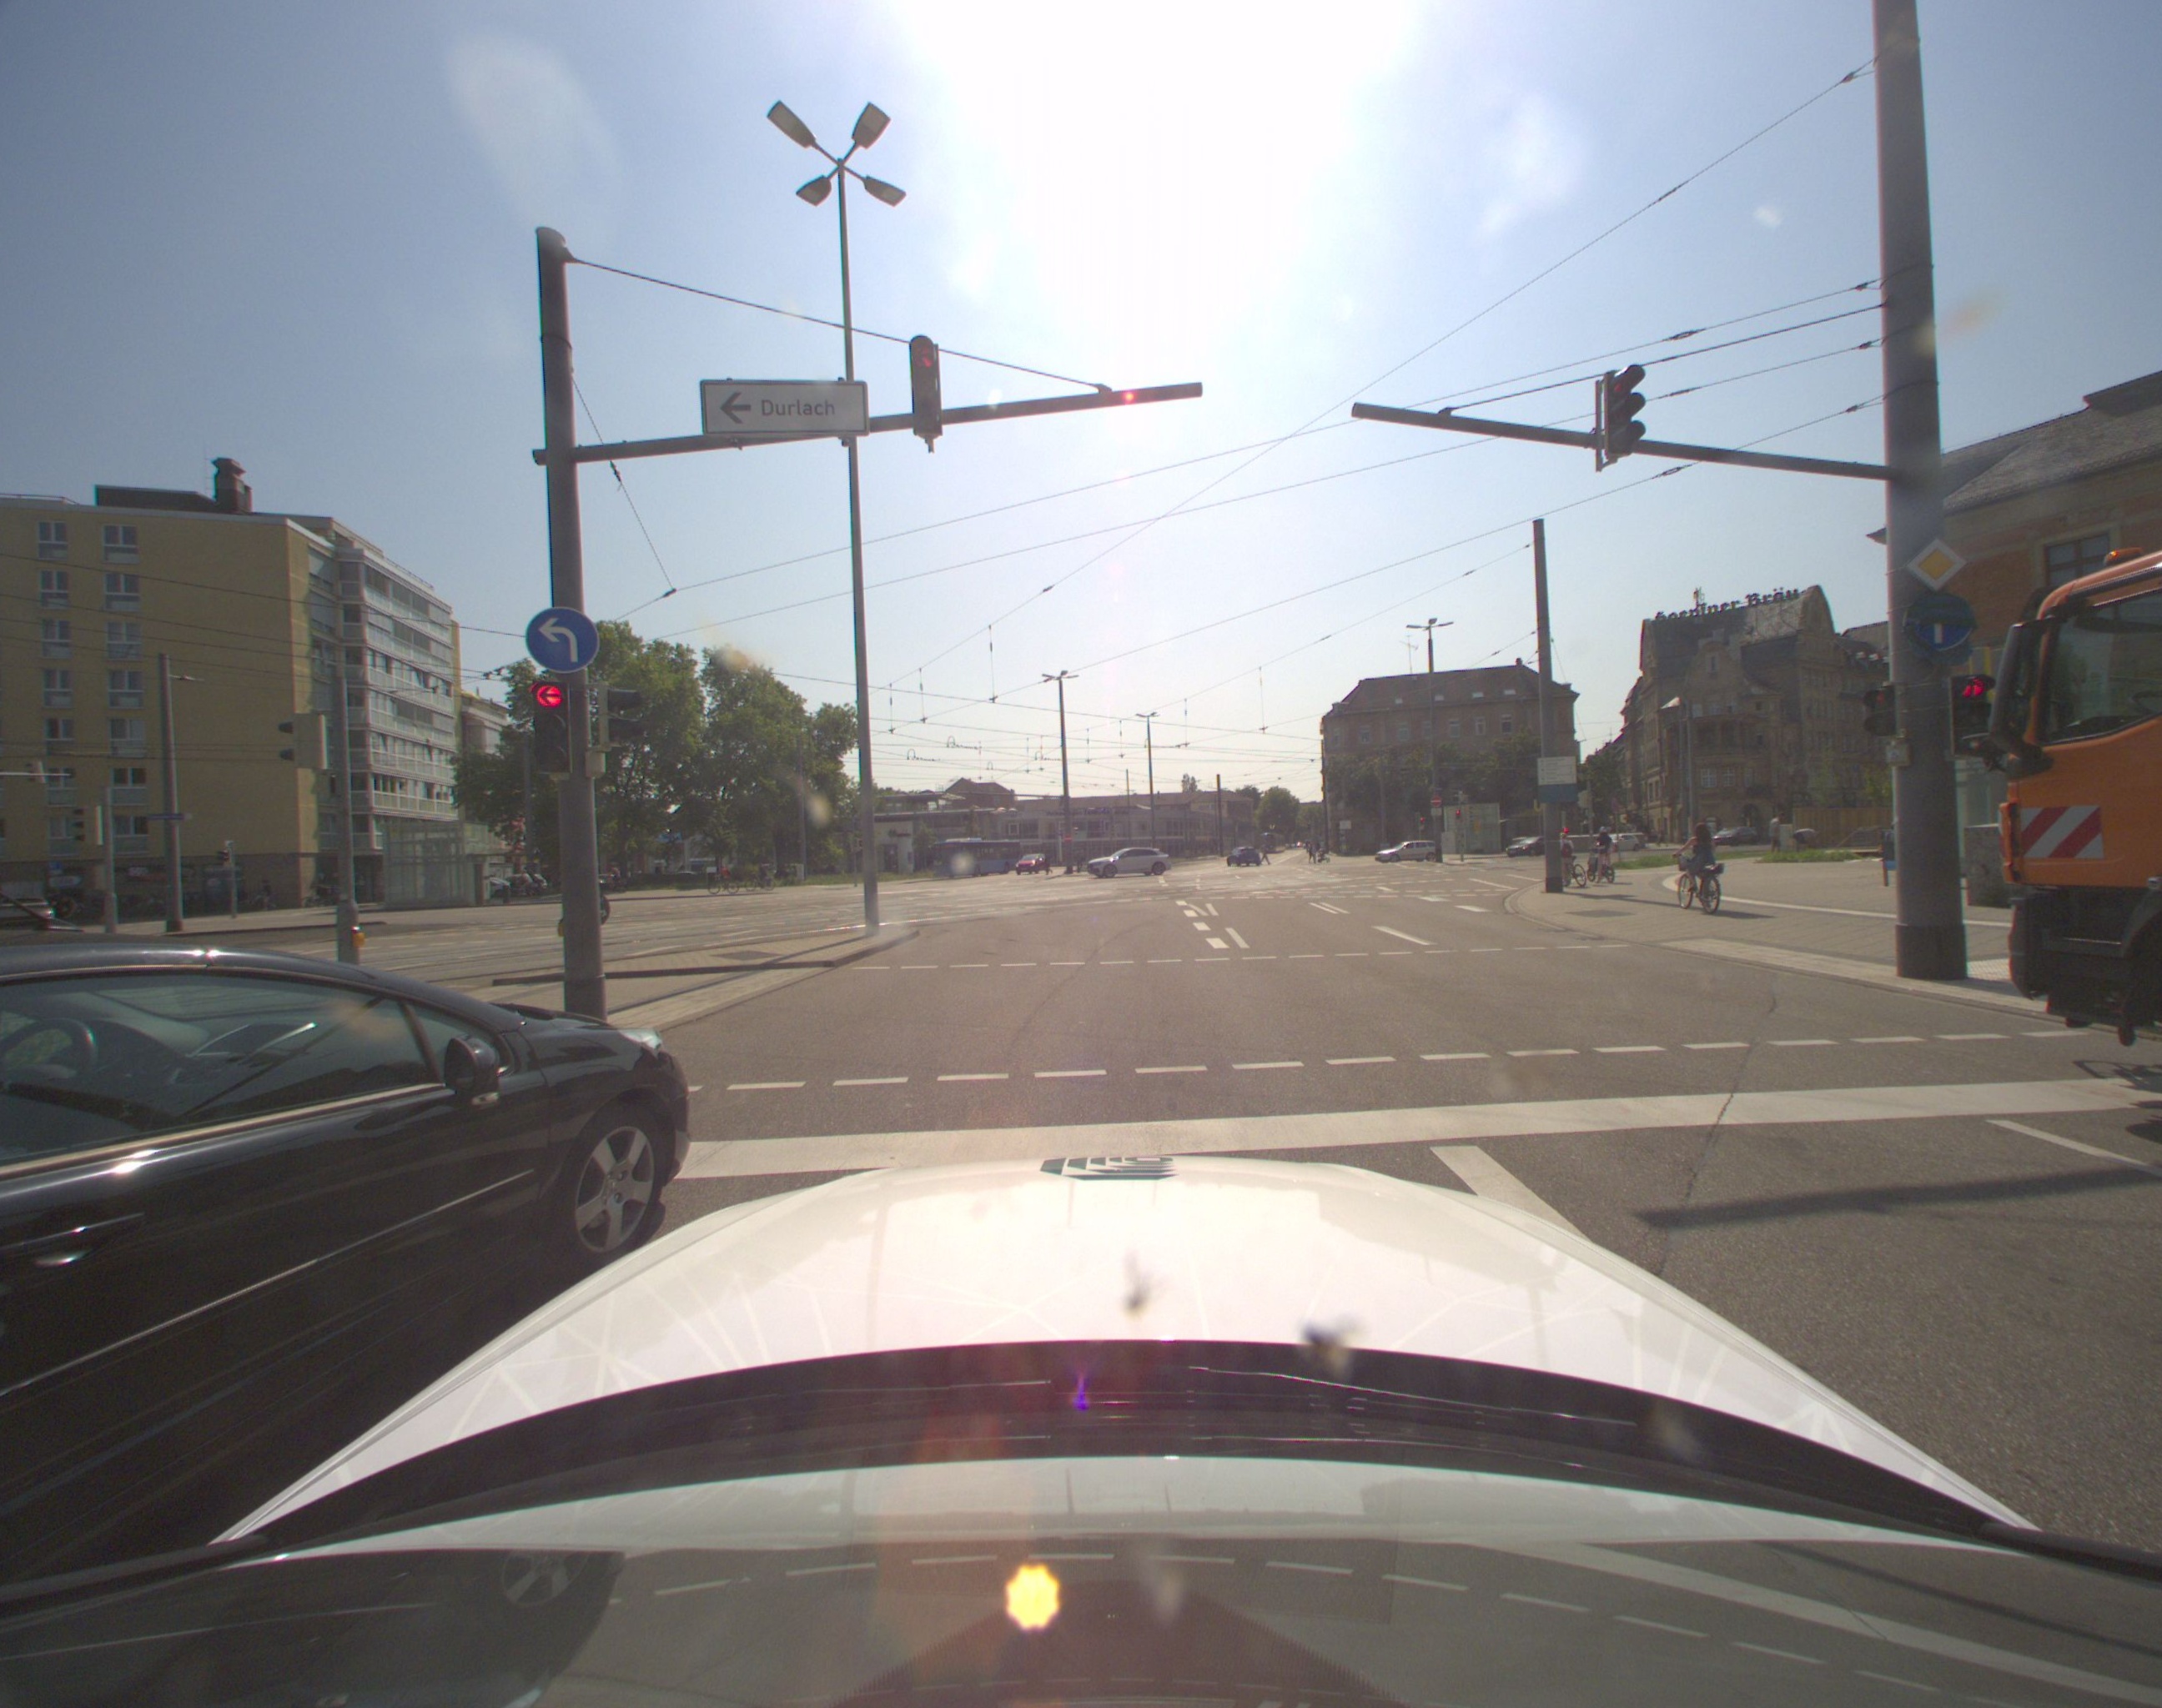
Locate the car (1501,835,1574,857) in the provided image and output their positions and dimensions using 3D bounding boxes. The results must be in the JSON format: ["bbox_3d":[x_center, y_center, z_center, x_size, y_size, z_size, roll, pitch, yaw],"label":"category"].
[{"bbox_3d":[32.739,-0.572,58.415,4.766,1.415,1.765,-2,0,-18],"label":"car"}]

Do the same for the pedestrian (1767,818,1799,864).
[{"bbox_3d":[27.165,-0.499,31.514,0.549,1.724,0.812,-2,0,-39],"label":"pedestrian"}]

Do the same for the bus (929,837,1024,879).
[{"bbox_3d":[-8.332,0.209,67.404,2.541,3.082,12.081,-3,0,19],"label":"bus"}]

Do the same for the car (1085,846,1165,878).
[{"bbox_3d":[2.576,0.459,47.687,4.331,1.618,1.745,-2,0,-17],"label":"car"}]

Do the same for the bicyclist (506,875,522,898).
[{"bbox_3d":[-33.932,1.939,48.722,0.544,1.293,0.557,-2,0,-10],"label":"bicyclist"}]

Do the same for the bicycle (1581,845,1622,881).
[{"bbox_3d":[16.213,0.270,25.401,0.532,1.055,1.660,-2,0,14],"label":"bicycle"}]

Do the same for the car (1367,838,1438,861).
[{"bbox_3d":[21.978,-0.299,55.784,4.165,1.415,1.774,-2,0,-3],"label":"car"}]

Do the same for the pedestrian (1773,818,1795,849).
[{"bbox_3d":[36.086,-1.042,41.820,0.794,1.575,0.729,-2,0,-44],"label":"pedestrian"}]

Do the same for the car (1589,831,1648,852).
[{"bbox_3d":[41.349,-0.974,62.629,4.207,1.415,1.762,-2,0,-24],"label":"car"}]

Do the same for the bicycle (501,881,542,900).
[{"bbox_3d":[-32.086,2.097,46.708,1.822,0.942,0.563,-2,0,-23],"label":"bicycle"}]

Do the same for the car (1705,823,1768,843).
[{"bbox_3d":[55.337,-1.756,68.781,4.624,1.505,1.987,-2,0,-19],"label":"car"}]

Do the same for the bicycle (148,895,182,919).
[{"bbox_3d":[-50.426,2.901,44.832,3.220,1.204,0.916,-3,0,36],"label":"bicycle"}]

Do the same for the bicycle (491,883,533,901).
[{"bbox_3d":[-34.048,2.252,48.768,2.033,0.942,0.466,-2,0,-11],"label":"bicycle"}]

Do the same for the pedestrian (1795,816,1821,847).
[{"bbox_3d":[28.990,-0.890,32.478,0.658,1.214,0.531,-2,0,30],"label":"pedestrian"}]

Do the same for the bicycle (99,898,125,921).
[{"bbox_3d":[-52.704,3.014,44.278,2.754,1.204,0.699,-3,0,36],"label":"bicycle"}]

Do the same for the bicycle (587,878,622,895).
[{"bbox_3d":[-29.241,1.989,50.004,1.814,0.942,0.414,-2,0,-11],"label":"bicycle"}]

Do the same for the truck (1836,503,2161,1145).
[{"bbox_3d":[6.401,-0.146,2.324,2.481,3.134,6.868,0,0,4],"label":"truck"}]

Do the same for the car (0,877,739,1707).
[{"bbox_3d":[-2.667,0.815,1.970,1.757,1.388,3.787,-1,0,6],"label":"car"}]

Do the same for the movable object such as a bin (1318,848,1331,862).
[{"bbox_3d":[19.044,0.074,63.679,0.812,1.077,0.510,-2,0,-9],"label":"movable object such as a bin"}]

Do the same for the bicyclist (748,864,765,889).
[{"bbox_3d":[-19.965,1.376,50.134,0.873,1.475,0.543,-2,0,-16],"label":"bicyclist"}]

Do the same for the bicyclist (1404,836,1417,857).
[{"bbox_3d":[24.355,-0.559,60.217,0.614,1.528,0.517,-2,0,-22],"label":"bicyclist"}]

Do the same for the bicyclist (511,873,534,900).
[{"bbox_3d":[-32.050,1.839,46.719,0.913,1.508,0.555,-2,0,-22],"label":"bicyclist"}]

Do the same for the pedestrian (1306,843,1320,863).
[{"bbox_3d":[18.177,-0.083,63.827,0.849,1.545,0.527,-2,0,-6],"label":"pedestrian"}]

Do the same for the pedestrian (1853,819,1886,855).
[{"bbox_3d":[31.693,-0.665,32.734,0.768,1.399,0.687,-2,0,-24],"label":"pedestrian"}]

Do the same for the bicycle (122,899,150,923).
[{"bbox_3d":[-51.677,3.105,44.531,3.220,1.204,0.699,-3,0,36],"label":"bicycle"}]

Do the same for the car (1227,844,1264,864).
[{"bbox_3d":[12.423,0.003,61.832,1.589,1.394,3.992,-2,0,-6],"label":"car"}]

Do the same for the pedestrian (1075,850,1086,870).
[{"bbox_3d":[-0.023,0.437,58.684,0.678,1.443,0.364,-2,0,-15],"label":"pedestrian"}]

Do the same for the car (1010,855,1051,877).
[{"bbox_3d":[-3.944,0.954,64.103,1.735,1.552,4.020,-3,0,20],"label":"car"}]

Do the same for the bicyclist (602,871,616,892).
[{"bbox_3d":[-28.972,1.684,49.973,0.544,1.293,0.557,-2,0,-10],"label":"bicyclist"}]

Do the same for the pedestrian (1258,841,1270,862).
[{"bbox_3d":[14.425,-0.176,64.138,0.699,1.603,0.572,-2,0,-6],"label":"pedestrian"}]

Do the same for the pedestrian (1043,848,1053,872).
[{"bbox_3d":[-2.374,0.421,58.777,0.554,1.684,0.451,-2,0,-17],"label":"pedestrian"}]

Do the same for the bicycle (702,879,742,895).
[{"bbox_3d":[-20.977,1.916,47.603,2.049,0.802,0.478,-2,0,-11],"label":"bicycle"}]

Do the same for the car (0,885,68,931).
[{"bbox_3d":[-48.305,2.473,37.514,3.949,1.925,1.815,-3,0,42],"label":"car"}]

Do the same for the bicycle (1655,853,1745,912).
[{"bbox_3d":[11.956,0.514,15.794,0.489,1.055,1.826,-2,0,7],"label":"bicycle"}]

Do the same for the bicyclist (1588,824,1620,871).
[{"bbox_3d":[16.089,-0.190,25.047,0.526,1.393,0.897,-2,0,14],"label":"bicyclist"}]

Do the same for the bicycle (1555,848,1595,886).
[{"bbox_3d":[14.580,0.357,24.073,0.532,1.055,1.660,-2,0,14],"label":"bicycle"}]

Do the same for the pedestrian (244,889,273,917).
[{"bbox_3d":[-46.696,2.764,46.231,0.859,1.543,0.738,-2,0,-20],"label":"pedestrian"}]

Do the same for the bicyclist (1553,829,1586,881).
[{"bbox_3d":[14.596,0.020,24.332,0.623,1.517,0.715,-2,0,14],"label":"bicyclist"}]

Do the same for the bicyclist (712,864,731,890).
[{"bbox_3d":[-21.023,1.333,47.603,0.871,1.483,0.496,-2,0,-10],"label":"bicyclist"}]

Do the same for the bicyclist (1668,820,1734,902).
[{"bbox_3d":[11.898,0.135,15.643,0.730,1.517,0.665,-2,0,6],"label":"bicyclist"}]

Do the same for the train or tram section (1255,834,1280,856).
[{"bbox_3d":[32.317,-1.567,140.843,2.566,3.516,10.955,-2,0,21],"label":"train or tram section"}]

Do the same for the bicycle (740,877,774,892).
[{"bbox_3d":[-19.917,1.860,50.143,1.860,0.802,0.604,-2,0,-17],"label":"bicycle"}]
